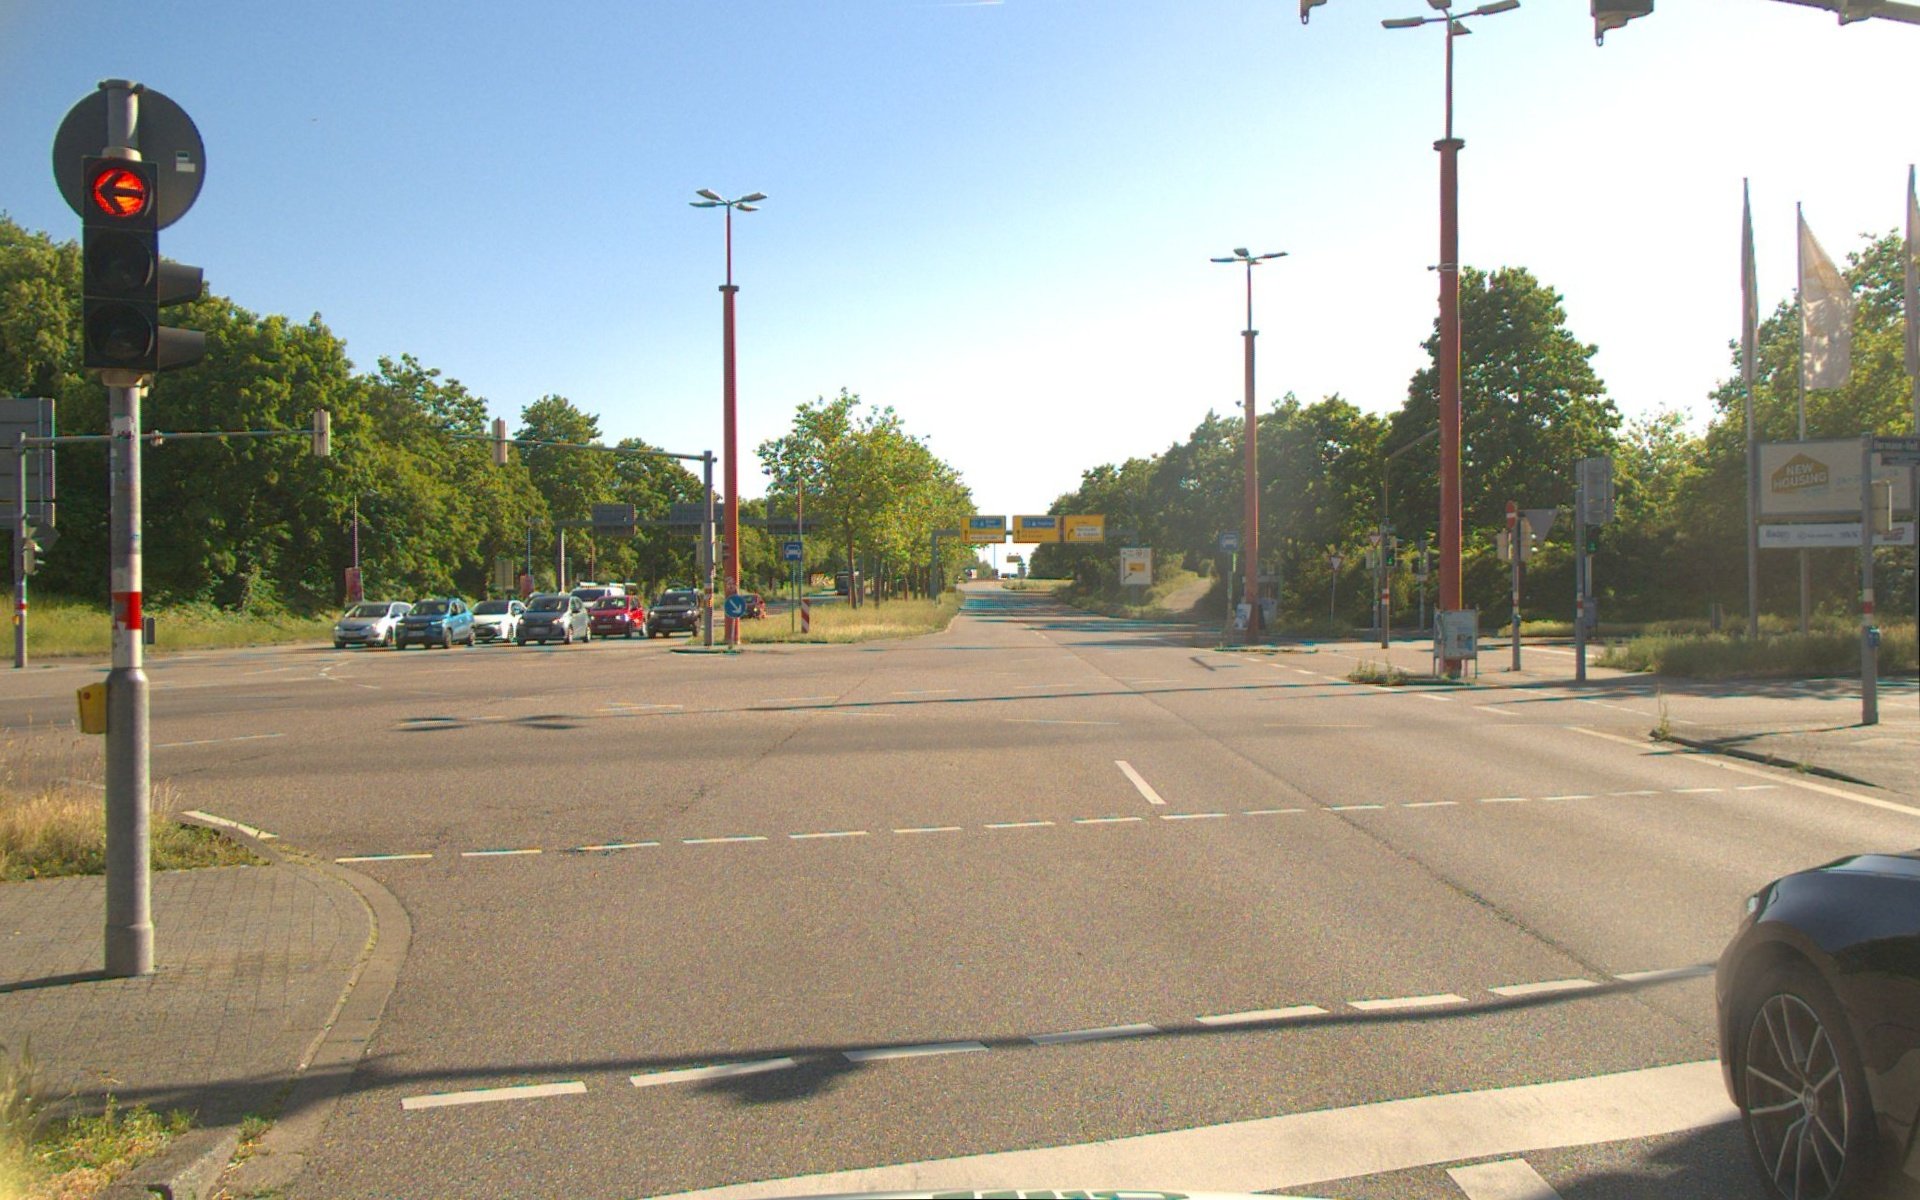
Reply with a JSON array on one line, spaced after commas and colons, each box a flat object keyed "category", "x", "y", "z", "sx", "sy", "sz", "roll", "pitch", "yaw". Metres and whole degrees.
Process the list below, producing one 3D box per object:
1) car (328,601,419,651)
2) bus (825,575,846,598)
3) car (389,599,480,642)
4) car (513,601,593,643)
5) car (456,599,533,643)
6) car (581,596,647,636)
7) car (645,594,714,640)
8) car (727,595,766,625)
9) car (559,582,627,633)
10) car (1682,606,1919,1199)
[{"category": "car", "x": -19.464, "y": 0.839, "z": 55.022, "sx": 1.725, "sy": 1.559, "sz": 3.934, "roll": 0, "pitch": 0, "yaw": -2}, {"category": "bus", "x": -18.209, "y": -1.999, "z": 242.756, "sx": 2.441, "sy": 3.295, "sz": 9.998, "roll": 0, "pitch": 0, "yaw": -1}, {"category": "car", "x": -16.057, "y": 0.609, "z": 50.669, "sx": 1.704, "sy": 1.265, "sz": 3.611, "roll": 0, "pitch": 0, "yaw": -2}, {"category": "car", "x": -12.676, "y": 0.667, "z": 51.691, "sx": 1.704, "sy": 1.265, "sz": 3.611, "roll": 0, "pitch": 0, "yaw": -2}, {"category": "car", "x": -15.934, "y": 0.698, "z": 56.787, "sx": 1.704, "sy": 1.436, "sz": 3.611, "roll": 0, "pitch": 0, "yaw": -2}, {"category": "car", "x": -12.312, "y": 0.547, "z": 59.061, "sx": 1.704, "sy": 1.386, "sz": 3.611, "roll": 0, "pitch": 0, "yaw": -2}, {"category": "car", "x": -9.803, "y": 0.571, "z": 57.955, "sx": 1.782, "sy": 1.534, "sz": 3.999, "roll": 0, "pitch": 0, "yaw": -1}, {"category": "car", "x": -12.191, "y": 0.552, "z": 94.574, "sx": 1.782, "sy": 1.657, "sz": 3.999, "roll": 0, "pitch": 0, "yaw": -1}, {"category": "car", "x": -15.578, "y": 0.306, "z": 70.390, "sx": 1.855, "sy": 2.061, "sz": 5.221, "roll": 0, "pitch": 0, "yaw": -2}, {"category": "car", "x": 2.905, "y": 0.734, "z": 2.355, "sx": 1.831, "sy": 1.422, "sz": 4.443, "roll": 0, "pitch": 0, "yaw": 0}]
